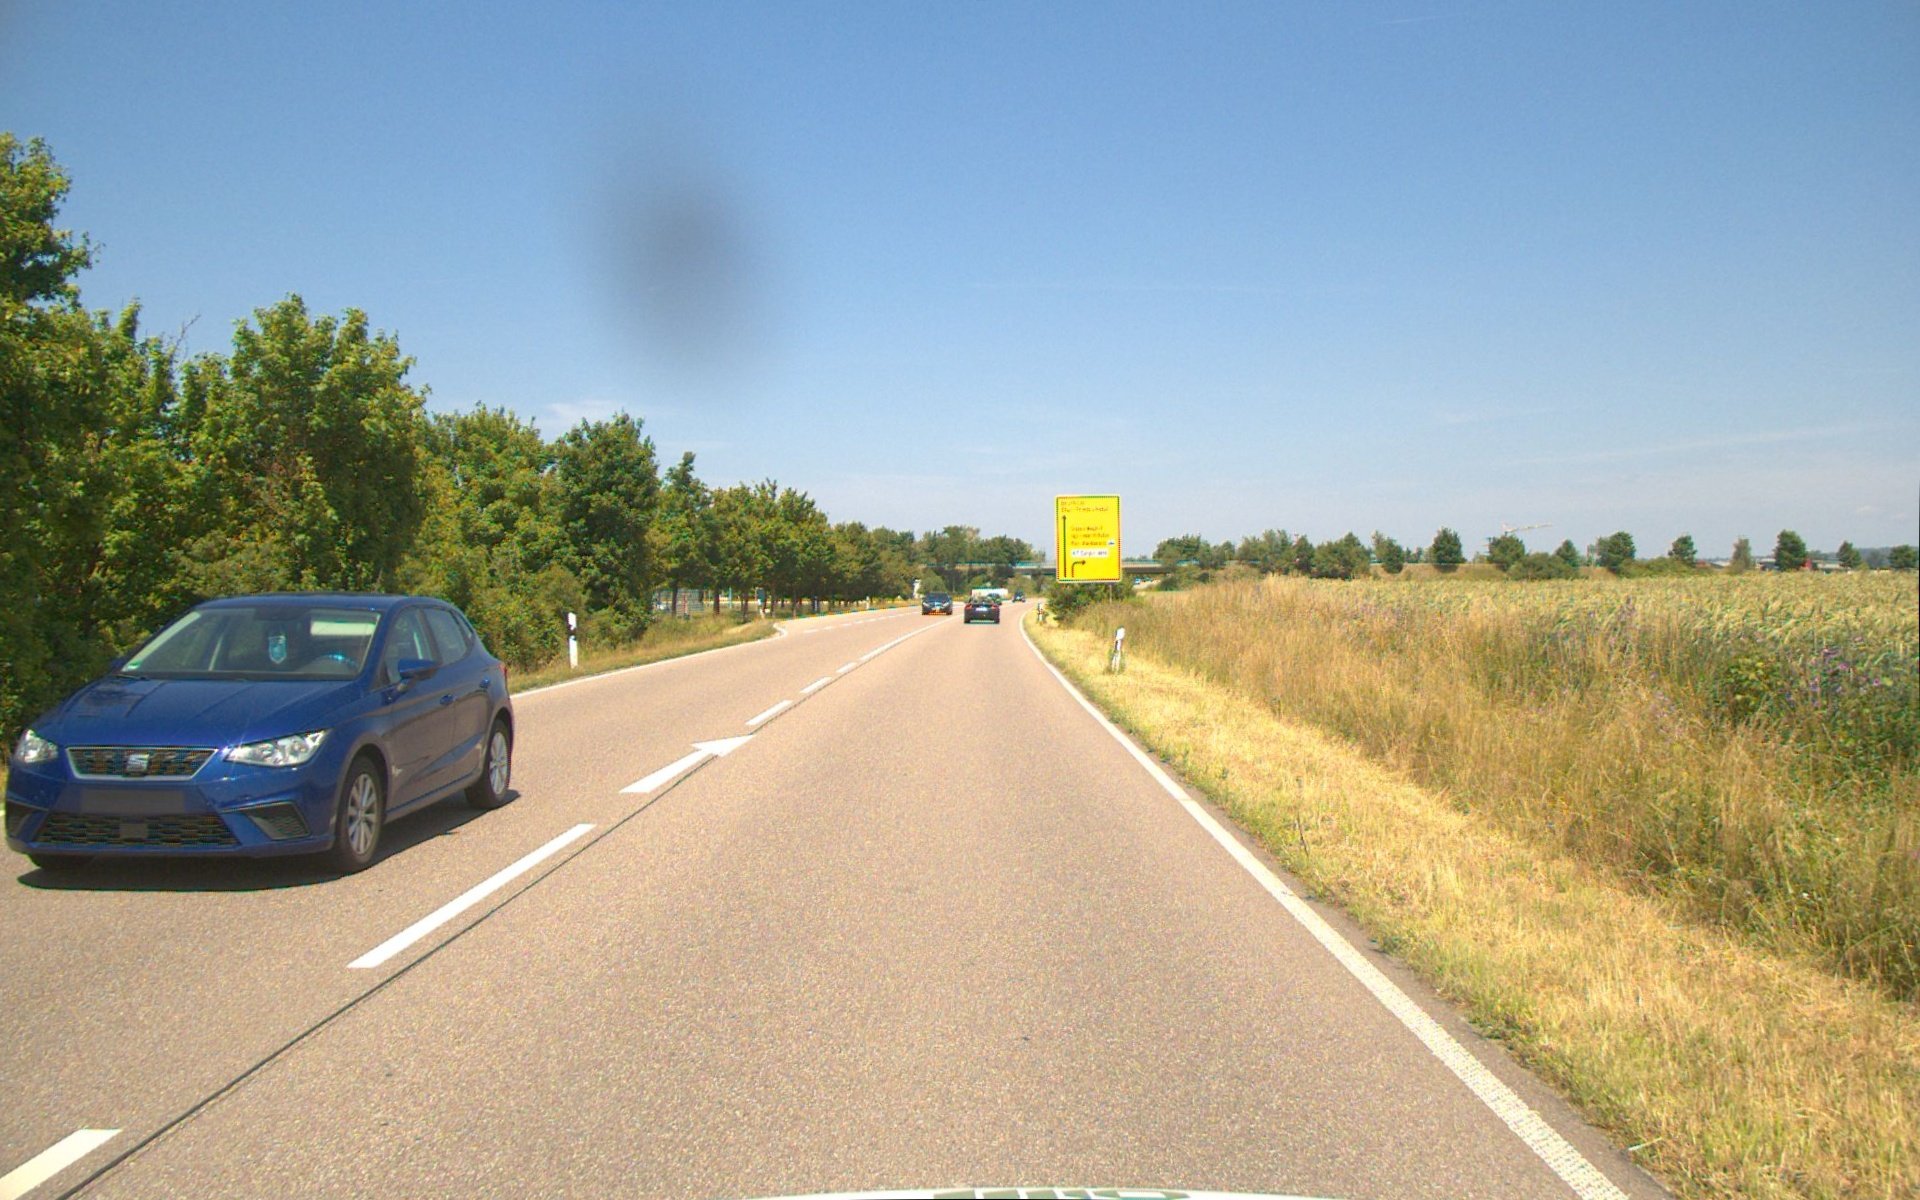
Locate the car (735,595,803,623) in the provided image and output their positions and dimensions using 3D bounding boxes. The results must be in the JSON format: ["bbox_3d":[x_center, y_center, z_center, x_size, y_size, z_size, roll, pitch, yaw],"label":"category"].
[{"bbox_3d":[-13.913,0.657,120.512,4.599,1.988,1.809,0,0,-29],"label":"car"}]

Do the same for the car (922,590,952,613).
[{"bbox_3d":[-1.470,0.087,106.507,1.745,1.445,4.535,0,1,1],"label":"car"}]

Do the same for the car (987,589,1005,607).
[{"bbox_3d":[4.030,-0.230,185.287,1.952,2.049,4.001,1,0,2],"label":"car"}]

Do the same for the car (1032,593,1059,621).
[{"bbox_3d":[6.438,0.508,125.387,1.712,2.049,3.998,1,-1,-2],"label":"car"}]

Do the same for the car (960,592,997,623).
[{"bbox_3d":[0.899,0.376,81.539,1.777,1.466,4.000,1,0,0],"label":"car"}]

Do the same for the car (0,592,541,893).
[{"bbox_3d":[-3.842,0.677,9.974,1.619,1.431,4.000,1,0,0],"label":"car"}]

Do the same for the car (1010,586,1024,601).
[{"bbox_3d":[8.095,-0.858,236.133,1.952,2.049,4.001,1,-1,3],"label":"car"}]
